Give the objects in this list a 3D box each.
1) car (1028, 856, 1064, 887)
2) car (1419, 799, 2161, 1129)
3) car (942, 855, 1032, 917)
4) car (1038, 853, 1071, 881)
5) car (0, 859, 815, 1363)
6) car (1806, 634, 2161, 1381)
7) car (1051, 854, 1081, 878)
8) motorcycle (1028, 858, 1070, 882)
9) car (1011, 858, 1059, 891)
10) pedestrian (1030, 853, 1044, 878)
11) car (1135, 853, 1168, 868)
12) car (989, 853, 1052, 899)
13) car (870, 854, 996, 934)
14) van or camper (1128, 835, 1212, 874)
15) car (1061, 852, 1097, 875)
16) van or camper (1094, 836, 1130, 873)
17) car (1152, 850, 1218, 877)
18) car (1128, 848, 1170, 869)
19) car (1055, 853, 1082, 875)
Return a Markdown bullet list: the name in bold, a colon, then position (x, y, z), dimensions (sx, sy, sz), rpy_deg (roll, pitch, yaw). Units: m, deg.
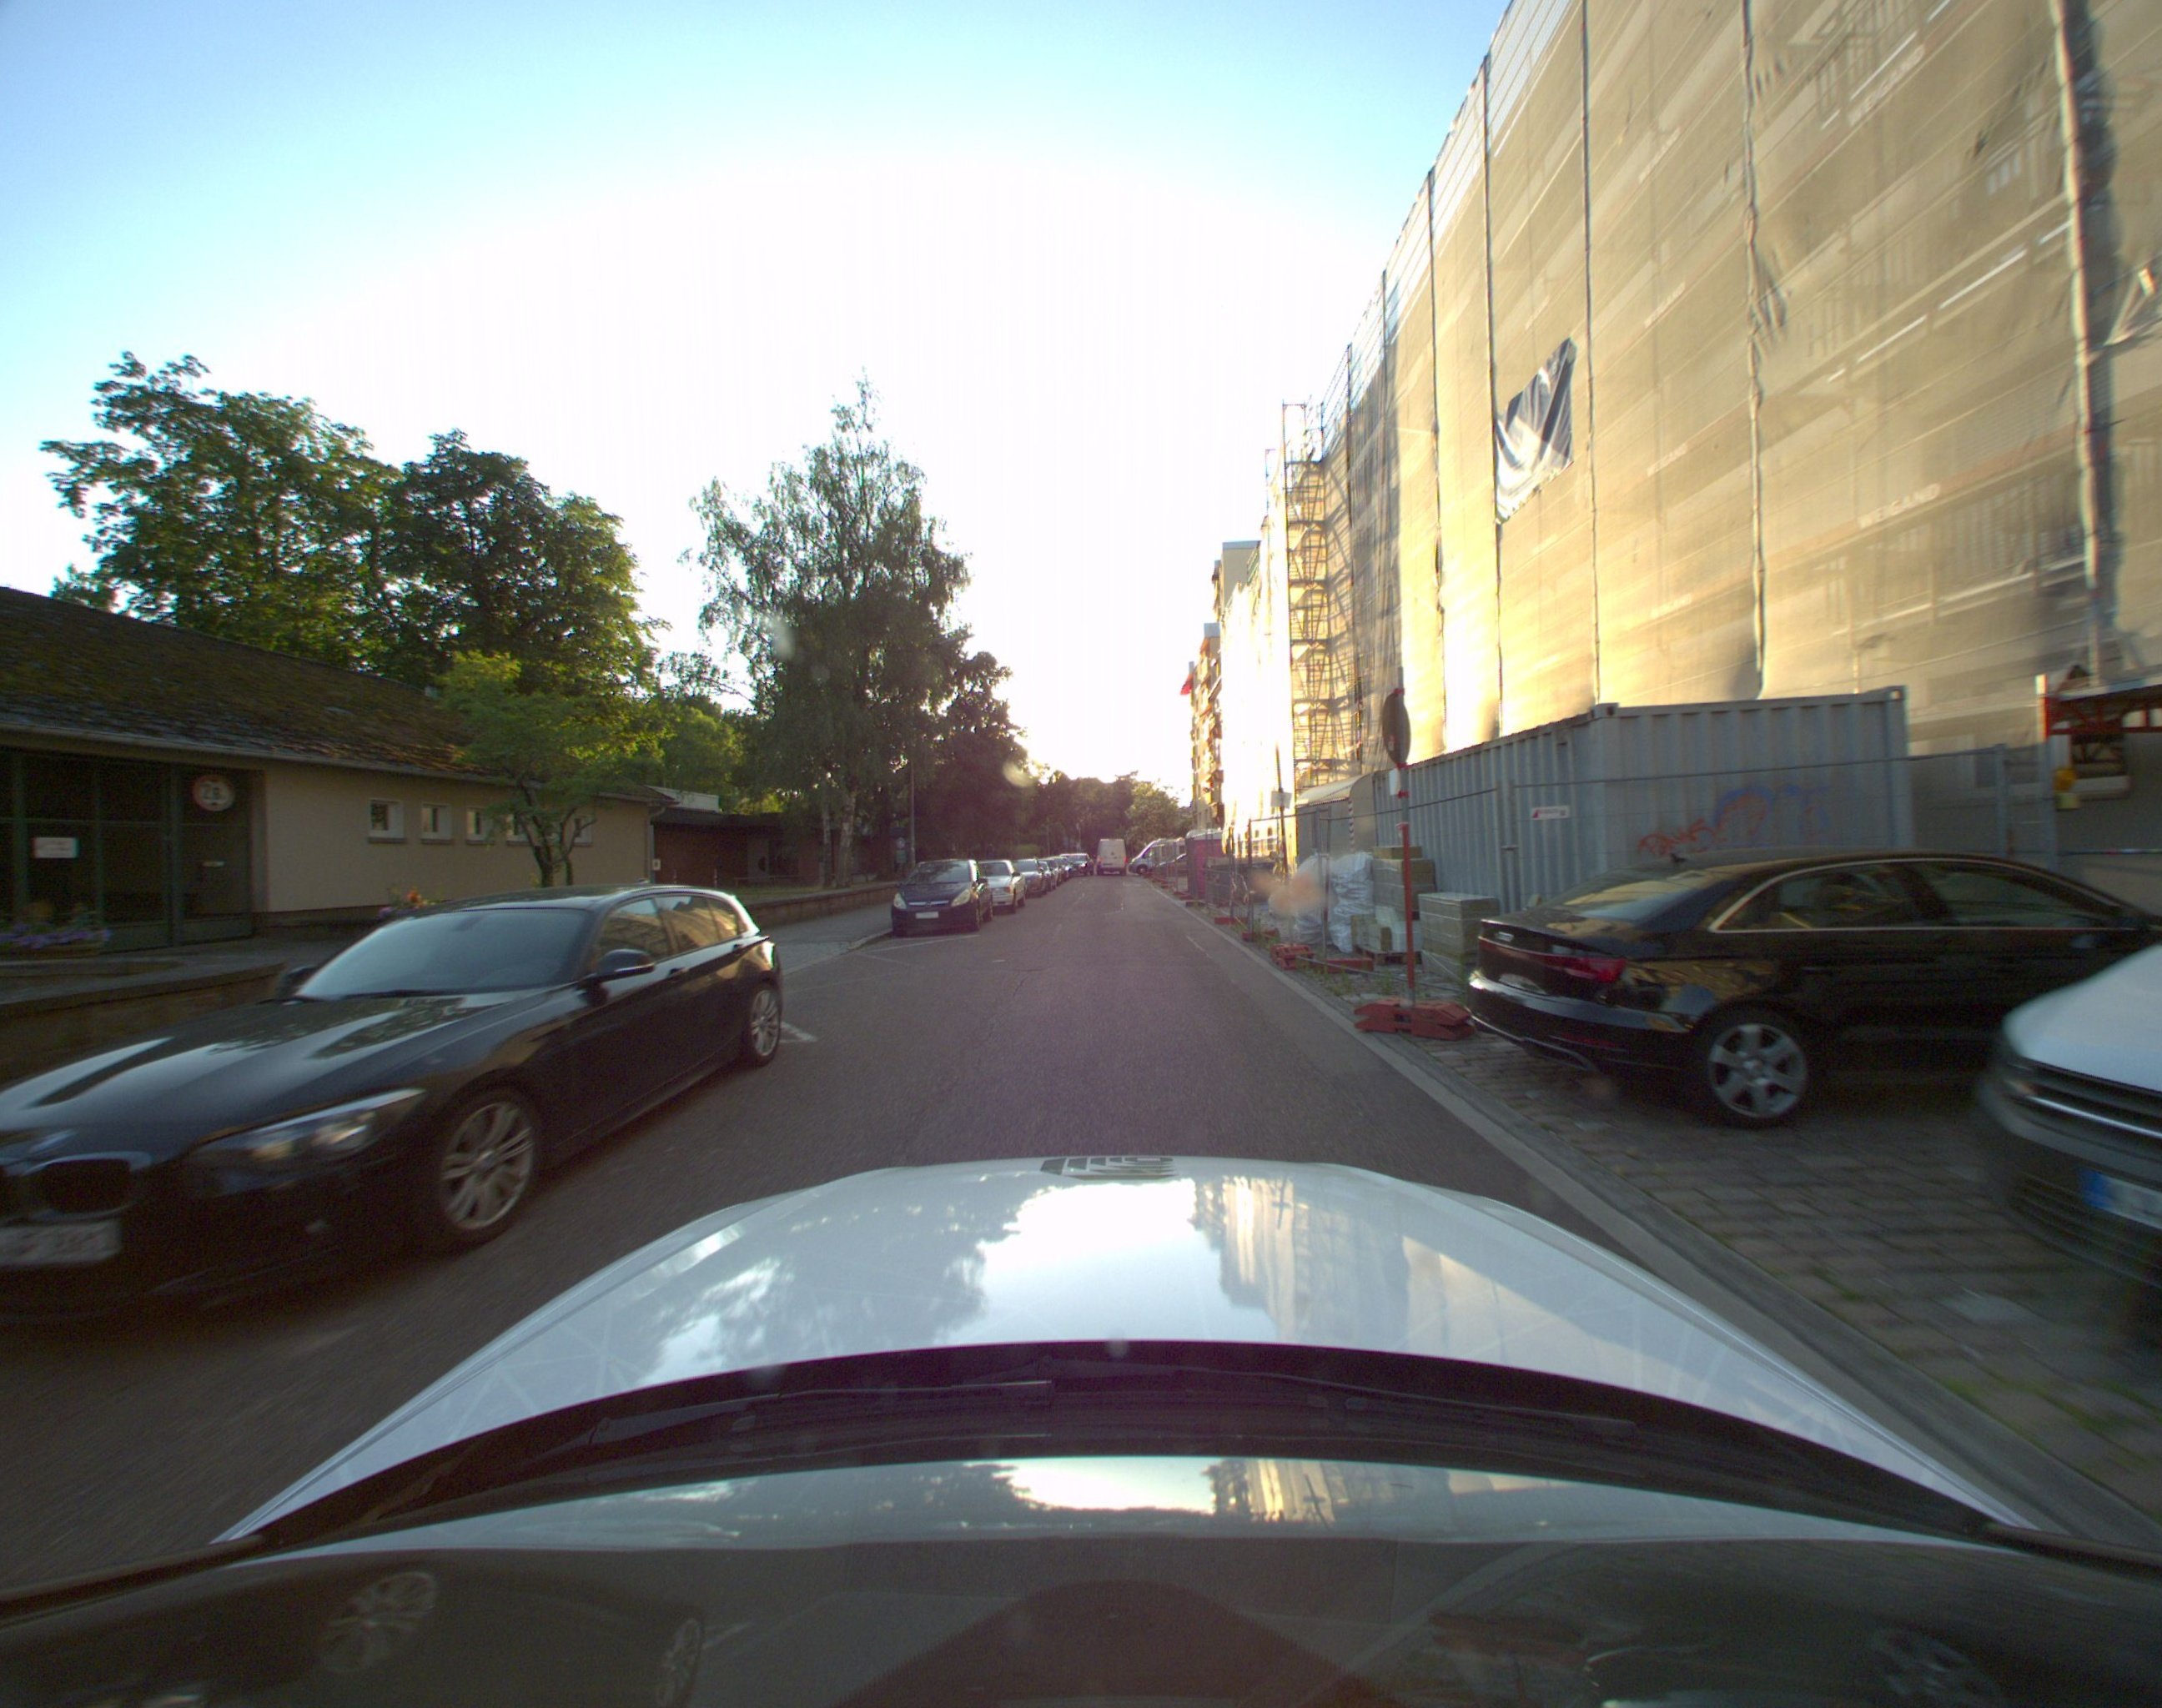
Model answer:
- **car**: position (-1.775, 0.883, 42.311), dimensions (1.595, 1.431, 3.804), rpy_deg (-4, 0, 1)
- **car**: position (4.538, 0.556, 5.029), dimensions (4.136, 1.615, 1.873), rpy_deg (-1, 0, 3)
- **car**: position (-2.504, 0.802, 22.804), dimensions (1.776, 1.445, 4.750), rpy_deg (-4, 0, 1)
- **car**: position (-1.546, 0.762, 48.719), dimensions (1.709, 1.496, 4.361), rpy_deg (-3, 0, 1)
- **car**: position (-3.278, 0.782, 4.560), dimensions (1.986, 1.453, 4.290), rpy_deg (-1, 0, 2)
- **car**: position (4.948, 0.278, 2.316), dimensions (4.258, 1.979, 1.819), rpy_deg (-4, 1, -4)
- **car**: position (-0.940, 0.763, 53.857), dimensions (1.630, 1.478, 3.995), rpy_deg (-3, 0, 3)
- **motorcycle**: position (-1.792, 0.895, 45.528), dimensions (2.147, 1.303, 0.883), rpy_deg (0, -1, 16)
- **car**: position (-2.000, 0.881, 36.552), dimensions (1.652, 1.313, 4.157), rpy_deg (-3, 0, 2)
- **pedestrian**: position (-3.231, 0.866, 60.082), dimensions (0.934, 1.830, 0.787), rpy_deg (0, -1, 0)
- **car**: position (8.548, 0.817, 99.447), dimensions (3.971, 1.728, 2.001), rpy_deg (0, 0, 2)
- **car**: position (-2.231, 0.787, 31.267), dimensions (1.853, 1.538, 4.760), rpy_deg (-2, 0, 1)
- **car**: position (-2.986, 0.754, 17.298), dimensions (1.988, 1.453, 3.998), rpy_deg (-1, 0, -1)
- **van or camper**: position (6.406, 0.069, 59.375), dimensions (5.908, 2.770, 2.110), rpy_deg (0, 0, 0)
- **car**: position (-0.075, 0.651, 58.632), dimensions (1.793, 1.569, 4.577), rpy_deg (-2, 0, 9)
- **van or camper**: position (2.269, 0.063, 59.817), dimensions (2.444, 2.547, 6.086), rpy_deg (1, 0, 2)
- **car**: position (6.858, 0.633, 53.777), dimensions (3.978, 1.515, 2.017), rpy_deg (-4, 0, -3)
- **car**: position (7.369, 0.466, 88.428), dimensions (4.480, 2.230, 2.032), rpy_deg (0, 0, 1)
- **car**: position (-0.972, 0.776, 65.395), dimensions (1.775, 1.631, 4.004), rpy_deg (-3, 0, 4)
